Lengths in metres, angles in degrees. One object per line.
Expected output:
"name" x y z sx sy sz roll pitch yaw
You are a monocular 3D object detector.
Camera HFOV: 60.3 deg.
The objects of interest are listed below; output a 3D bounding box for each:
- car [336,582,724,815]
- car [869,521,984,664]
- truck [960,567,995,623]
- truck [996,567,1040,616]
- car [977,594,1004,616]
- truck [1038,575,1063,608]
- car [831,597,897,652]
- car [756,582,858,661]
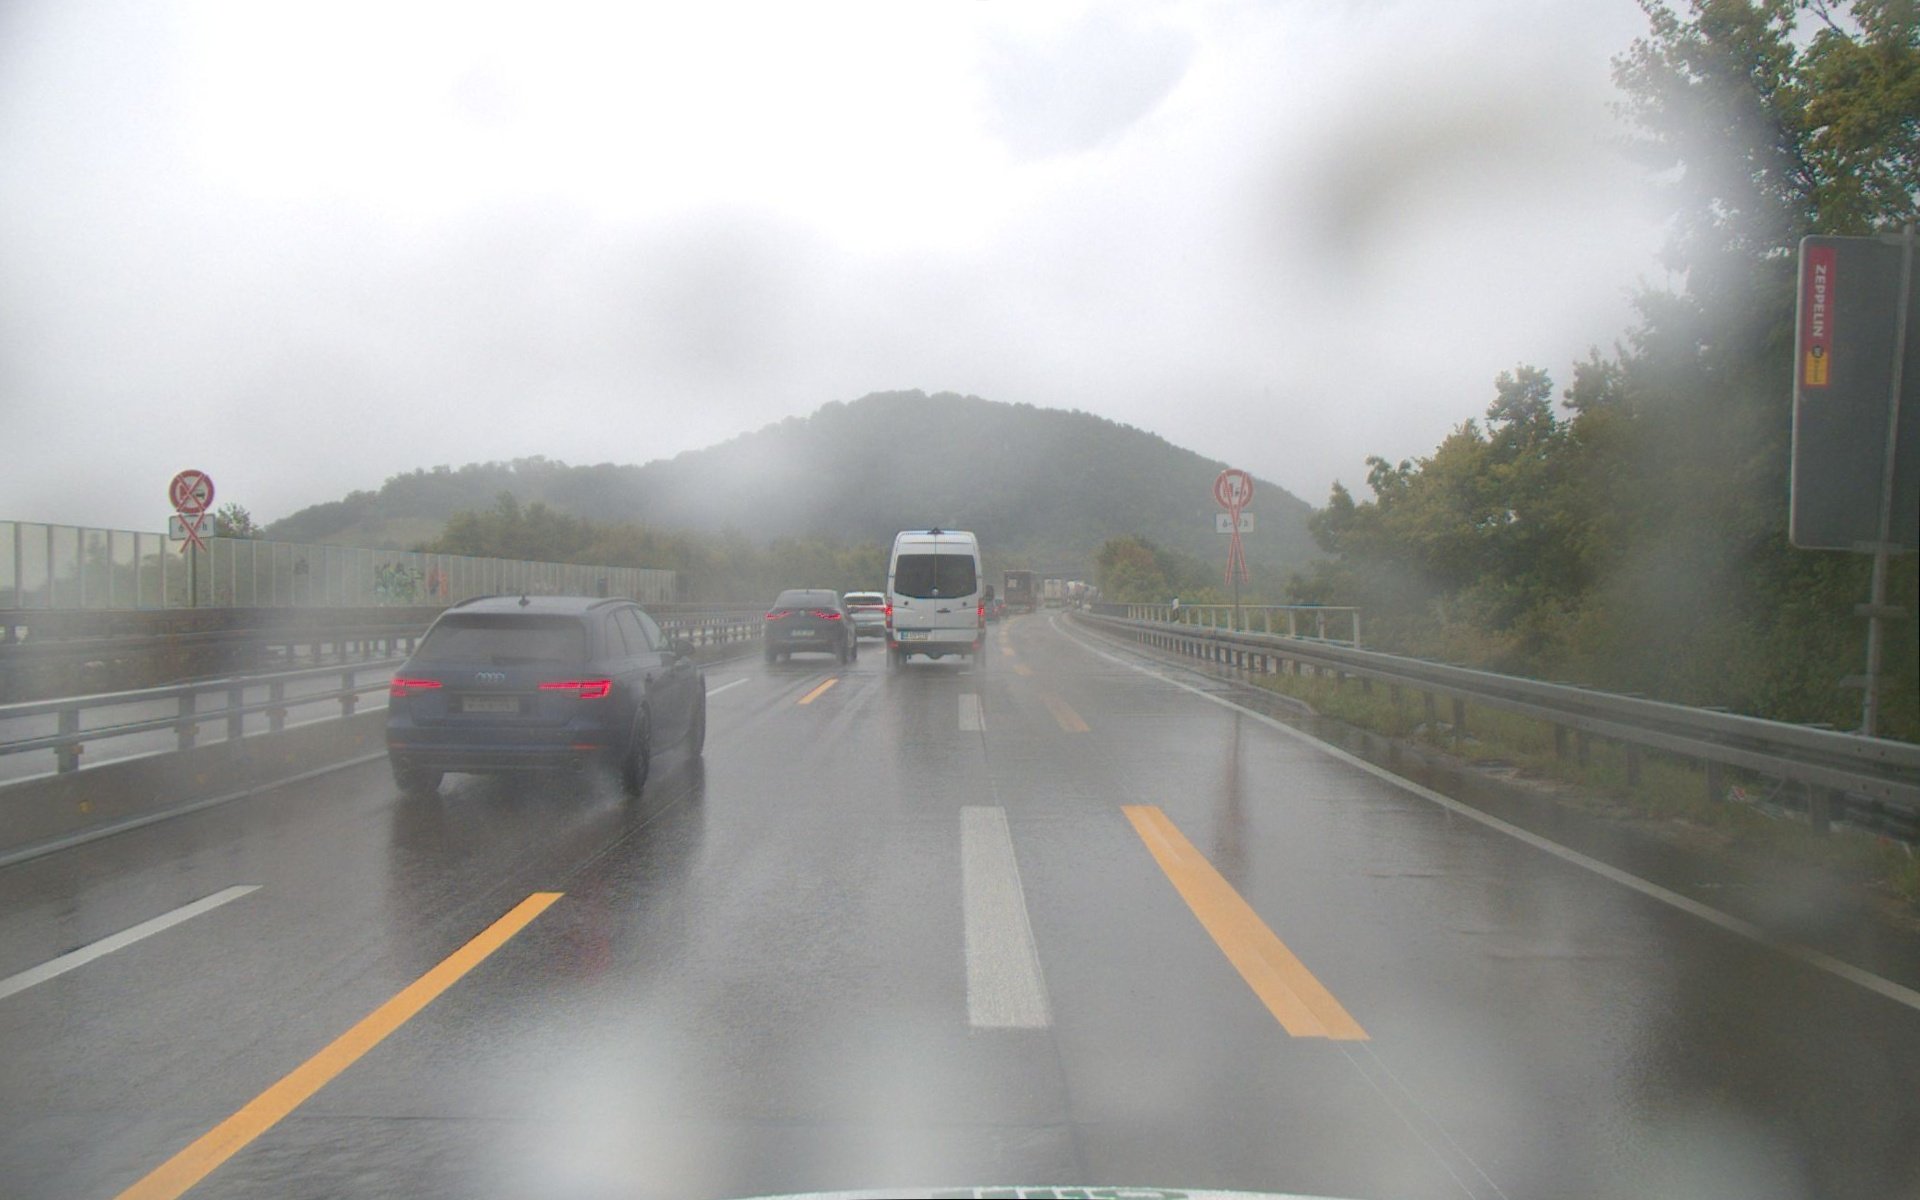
"car" -3.193 0.673 13.338 1.953 1.524 4.630 1 0 -1
"car" -0.594 -0.121 33.415 2.101 2.616 5.389 1 0 1
"truck" 1.099 -0.266 98.452 1.952 3.163 8.499 1 0 1
"truck" 5.665 -0.771 159.642 3.505 4.483 9.630 1 0 6
"car" 2.189 0.370 117.399 1.736 1.501 4.002 1 0 4
"truck" 12.808 -1.111 233.163 2.972 4.483 9.629 1 0 6
"car" -3.047 0.759 52.590 1.954 1.646 4.793 1 0 -3
"car" -3.318 0.471 36.617 1.953 1.613 4.412 1 0 -2
